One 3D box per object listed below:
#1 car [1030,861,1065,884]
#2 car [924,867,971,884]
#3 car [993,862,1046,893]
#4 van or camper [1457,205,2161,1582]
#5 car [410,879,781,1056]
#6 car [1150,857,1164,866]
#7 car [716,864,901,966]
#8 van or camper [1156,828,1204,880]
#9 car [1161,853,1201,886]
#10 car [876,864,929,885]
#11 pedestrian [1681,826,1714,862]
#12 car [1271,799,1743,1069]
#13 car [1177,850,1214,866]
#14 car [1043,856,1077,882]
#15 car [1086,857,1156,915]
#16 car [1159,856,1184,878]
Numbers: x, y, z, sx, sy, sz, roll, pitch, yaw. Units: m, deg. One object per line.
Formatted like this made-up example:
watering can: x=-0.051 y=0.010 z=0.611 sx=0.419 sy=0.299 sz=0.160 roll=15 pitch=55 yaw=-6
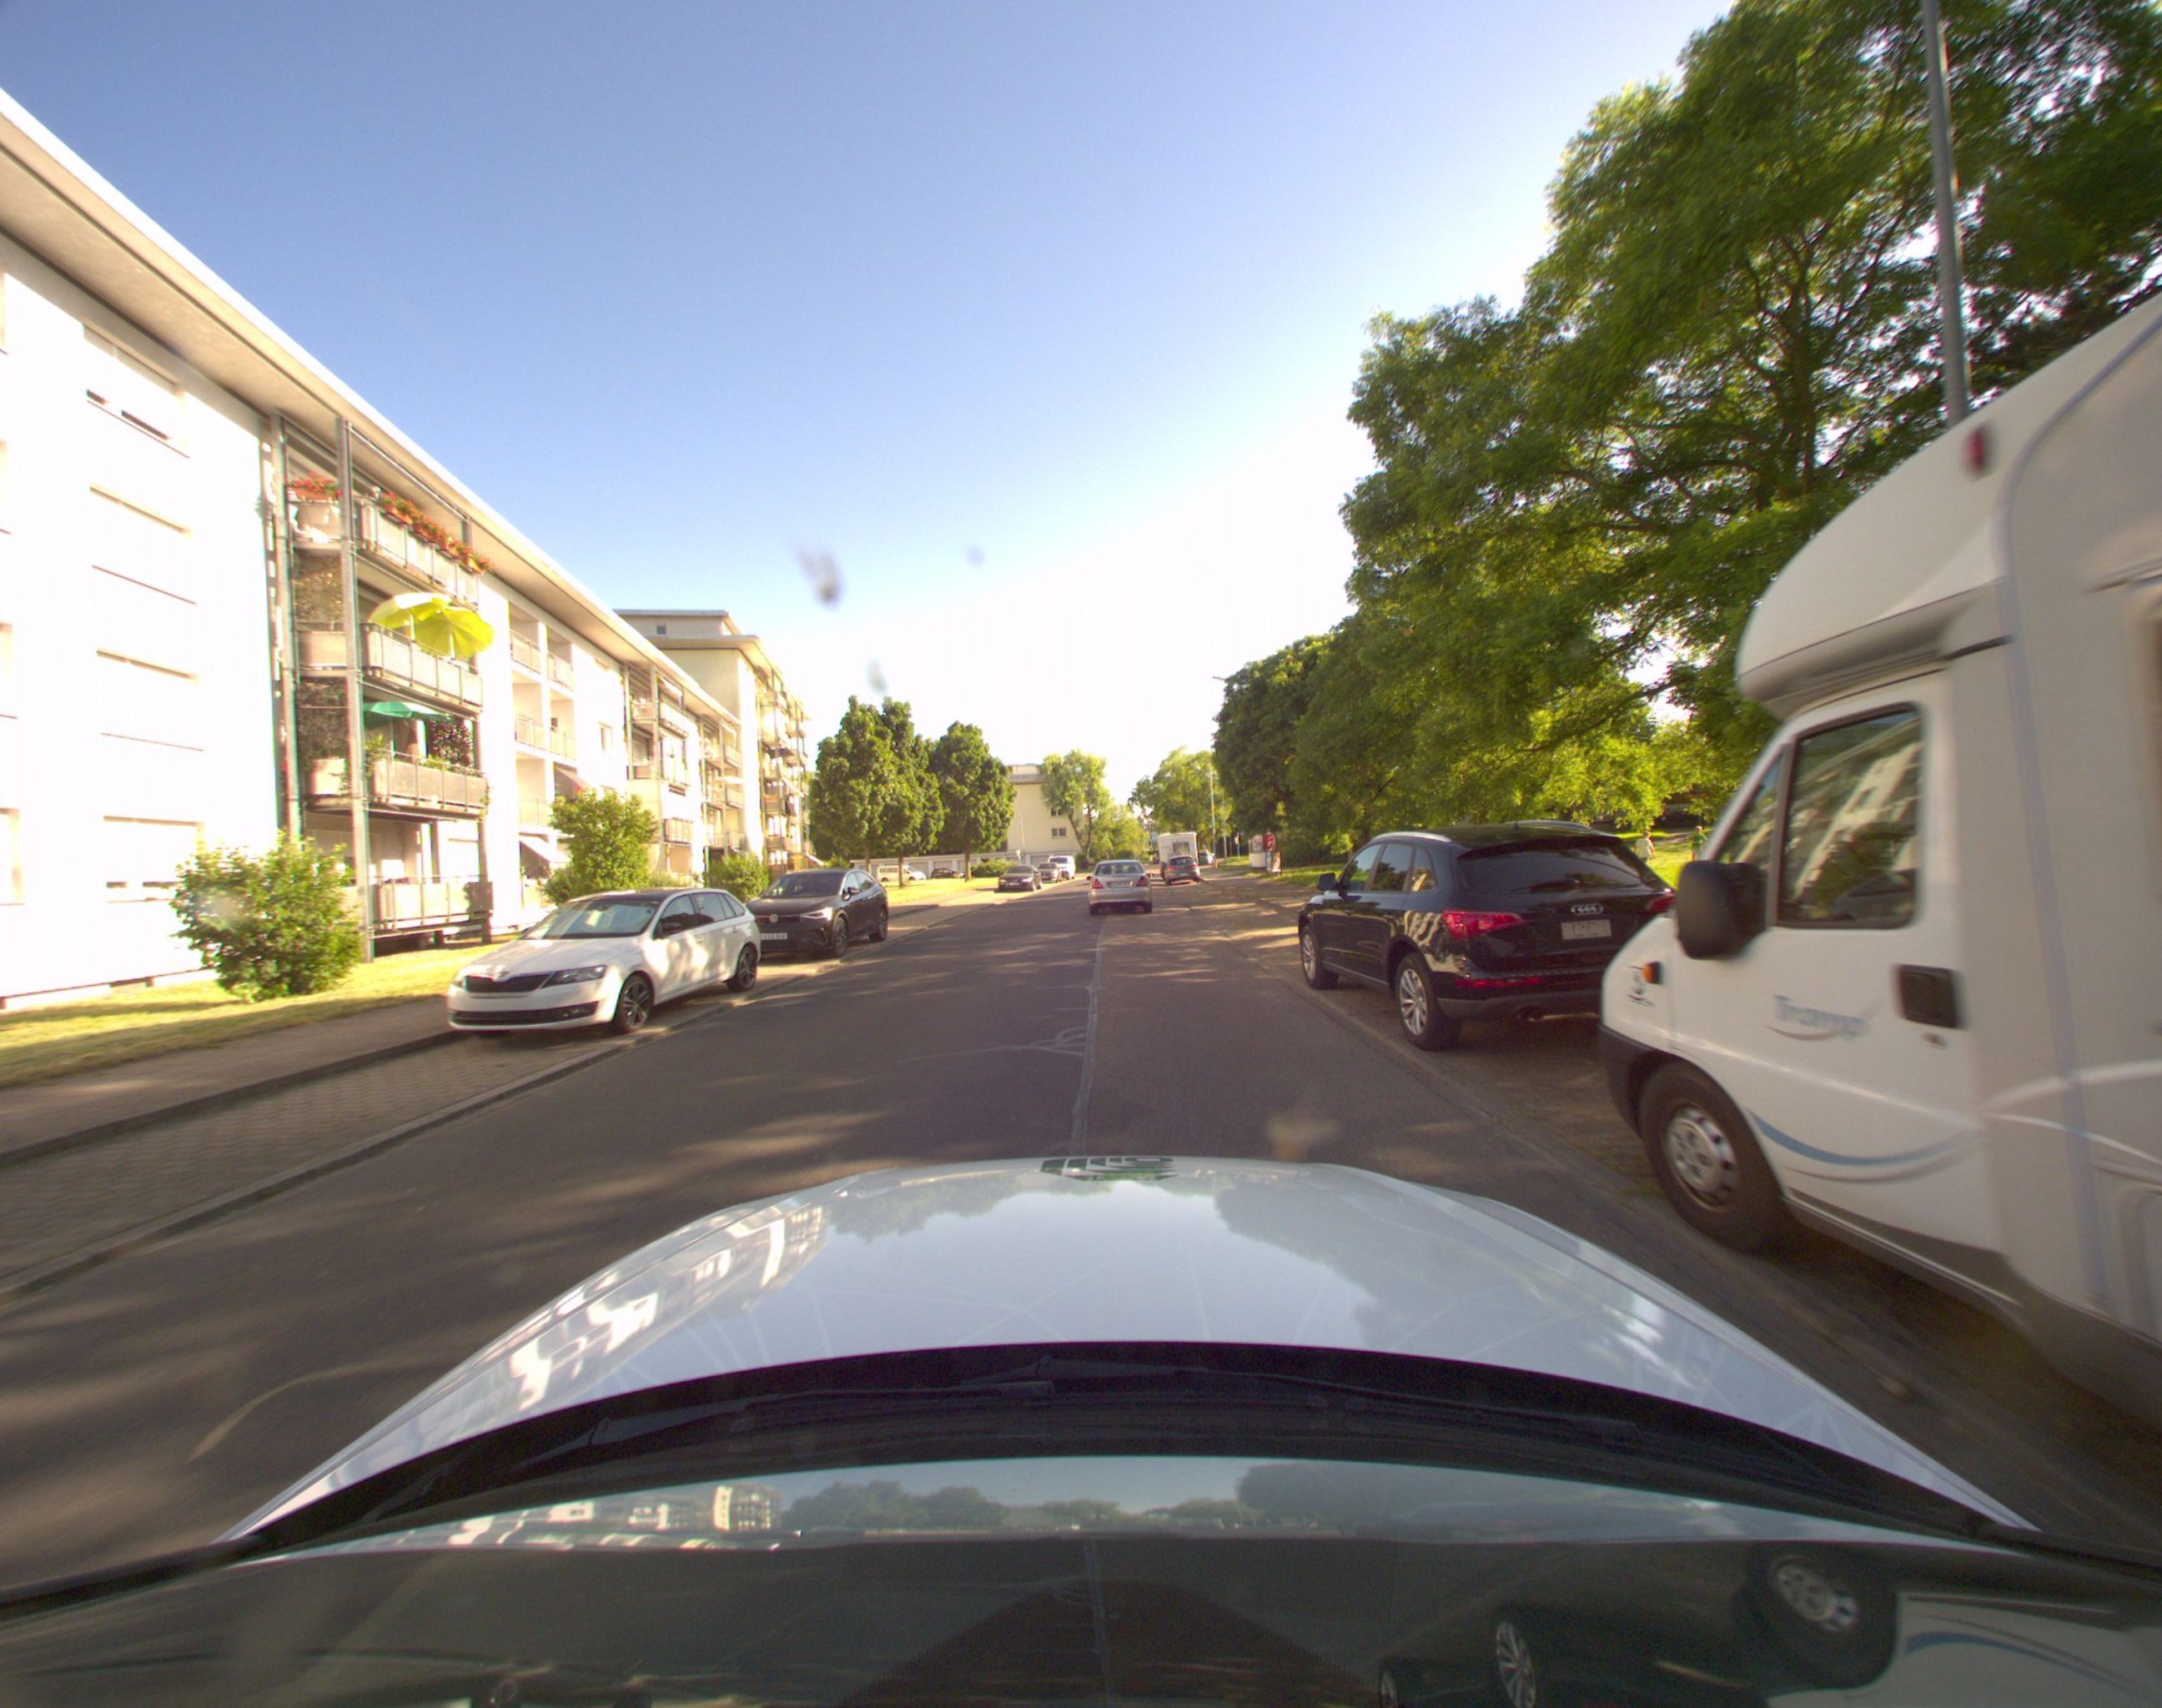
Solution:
car: x=-2.338 y=1.265 z=57.692 sx=1.824 sy=1.518 sz=4.228 roll=-2 pitch=-1 yaw=6
car: x=-14.239 y=2.317 z=87.007 sx=4.413 sy=1.460 sz=2.050 roll=-4 pitch=-1 yaw=11
car: x=-3.304 y=1.241 z=44.801 sx=2.025 sy=1.493 sz=5.263 roll=-3 pitch=0 yaw=5
van or camper: x=3.167 y=0.031 z=0.977 sx=2.343 sy=2.596 sz=6.427 roll=-6 pitch=0 yaw=1
car: x=-5.323 y=1.125 z=9.747 sx=1.640 sy=1.466 sz=4.333 roll=-3 pitch=0 yaw=2
car: x=13.952 y=1.374 z=148.789 sx=1.900 sy=1.490 sz=3.850 roll=-6 pitch=-1 yaw=13
car: x=-5.150 y=1.066 z=16.208 sx=1.908 sy=1.604 sz=4.812 roll=-4 pitch=-1 yaw=1
van or camper: x=6.089 y=-0.010 z=51.048 sx=2.485 sy=2.845 sz=6.859 roll=-4 pitch=0 yaw=4
car: x=5.340 y=0.813 z=43.956 sx=1.713 sy=1.524 sz=4.432 roll=-6 pitch=-1 yaw=3
car: x=-19.269 y=2.196 z=87.961 sx=5.071 sy=1.951 sz=2.245 roll=-4 pitch=-1 yaw=12
pedestrian: x=19.340 y=-0.311 z=25.551 sx=0.634 sy=1.088 sz=0.505 roll=-4 pitch=0 yaw=-18
car: x=3.407 y=0.549 z=7.764 sx=1.988 sy=1.640 sz=4.535 roll=-5 pitch=0 yaw=-1
car: x=16.210 y=0.628 z=115.565 sx=4.865 sy=1.924 sz=2.001 roll=-4 pitch=-1 yaw=2
car: x=-1.609 y=1.158 z=64.351 sx=2.004 sy=1.885 sz=5.199 roll=-2 pitch=-1 yaw=6
car: x=1.129 y=0.853 z=22.569 sx=1.725 sy=1.434 sz=3.441 roll=-2 pitch=-1 yaw=3
car: x=6.608 y=0.945 z=59.889 sx=1.683 sy=1.474 sz=4.006 roll=-4 pitch=-1 yaw=5
